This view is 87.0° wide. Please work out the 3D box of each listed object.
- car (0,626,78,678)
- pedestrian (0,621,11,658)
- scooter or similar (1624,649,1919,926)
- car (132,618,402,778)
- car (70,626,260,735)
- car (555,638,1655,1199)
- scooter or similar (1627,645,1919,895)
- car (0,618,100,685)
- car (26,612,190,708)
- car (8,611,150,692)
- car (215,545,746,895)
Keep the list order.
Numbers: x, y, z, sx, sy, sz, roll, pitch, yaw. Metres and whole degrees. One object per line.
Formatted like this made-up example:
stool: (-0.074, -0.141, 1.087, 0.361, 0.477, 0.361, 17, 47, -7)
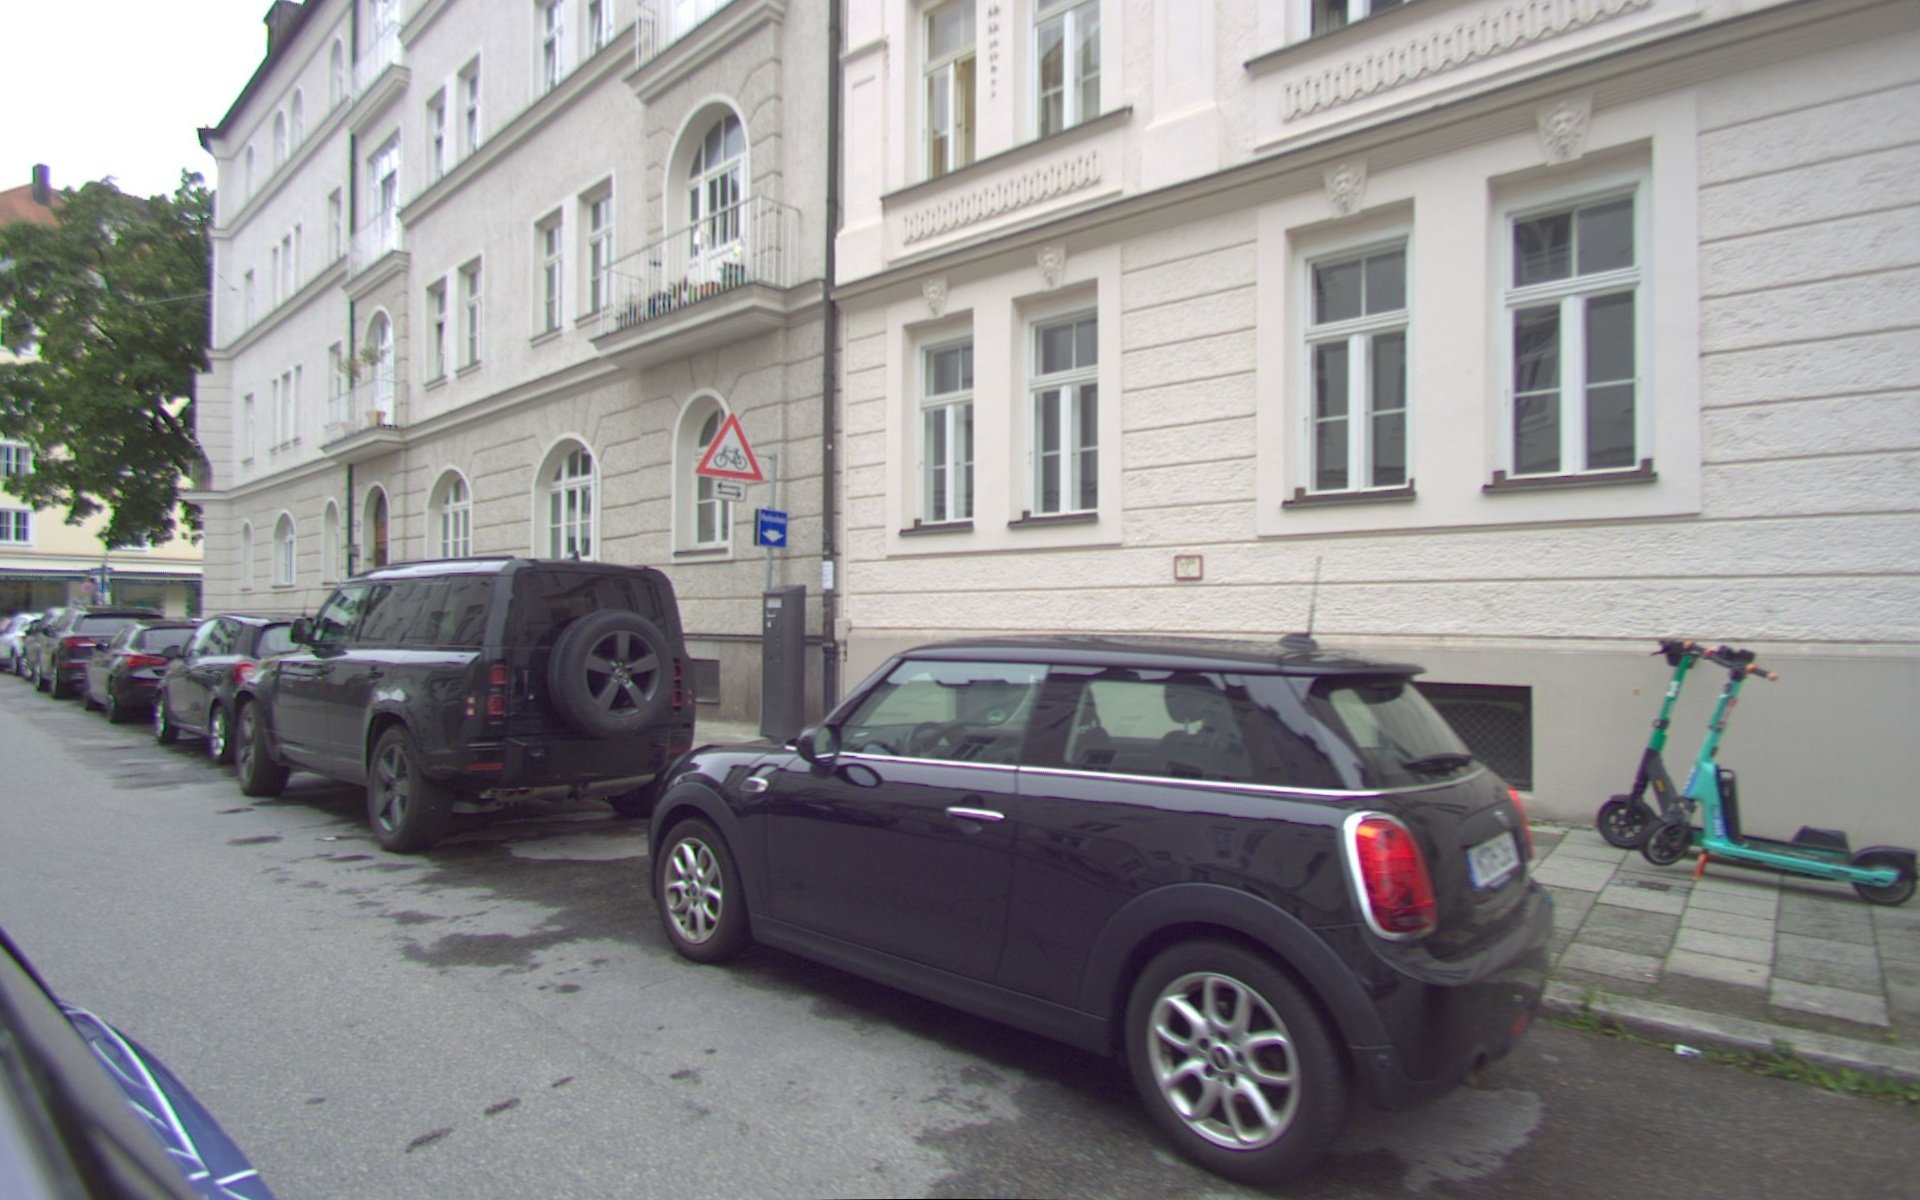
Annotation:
car: (-27.250, 1.471, 29.442, 4.475, 1.404, 1.664, -1, -3, 40)
pedestrian: (-42.354, 1.740, 44.333, 0.907, 1.623, 0.778, 0, -1, -19)
scooter or similar: (4.219, 0.864, 4.966, 1.547, 1.209, 0.527, -1, -2, 41)
car: (-7.920, 0.991, 11.470, 3.529, 1.525, 1.600, -1, -3, 40)
car: (-12.146, 1.134, 15.367, 4.092, 1.417, 1.636, -1, -3, 43)
car: (0.228, 0.893, 4.239, 4.242, 1.405, 1.817, -1, -4, 41)
scooter or similar: (4.660, 0.885, 5.609, 1.547, 1.231, 0.488, -1, -2, 41)
car: (-23.802, 1.271, 26.100, 3.945, 1.580, 1.678, 0, -1, 37)
car: (-16.186, 1.065, 19.157, 4.434, 1.611, 1.855, -2, -2, 43)
car: (-20.257, 1.137, 23.210, 4.209, 1.690, 1.818, -1, -2, 40)
car: (-3.887, 0.736, 7.772, 4.759, 1.909, 1.818, -1, -4, 40)
